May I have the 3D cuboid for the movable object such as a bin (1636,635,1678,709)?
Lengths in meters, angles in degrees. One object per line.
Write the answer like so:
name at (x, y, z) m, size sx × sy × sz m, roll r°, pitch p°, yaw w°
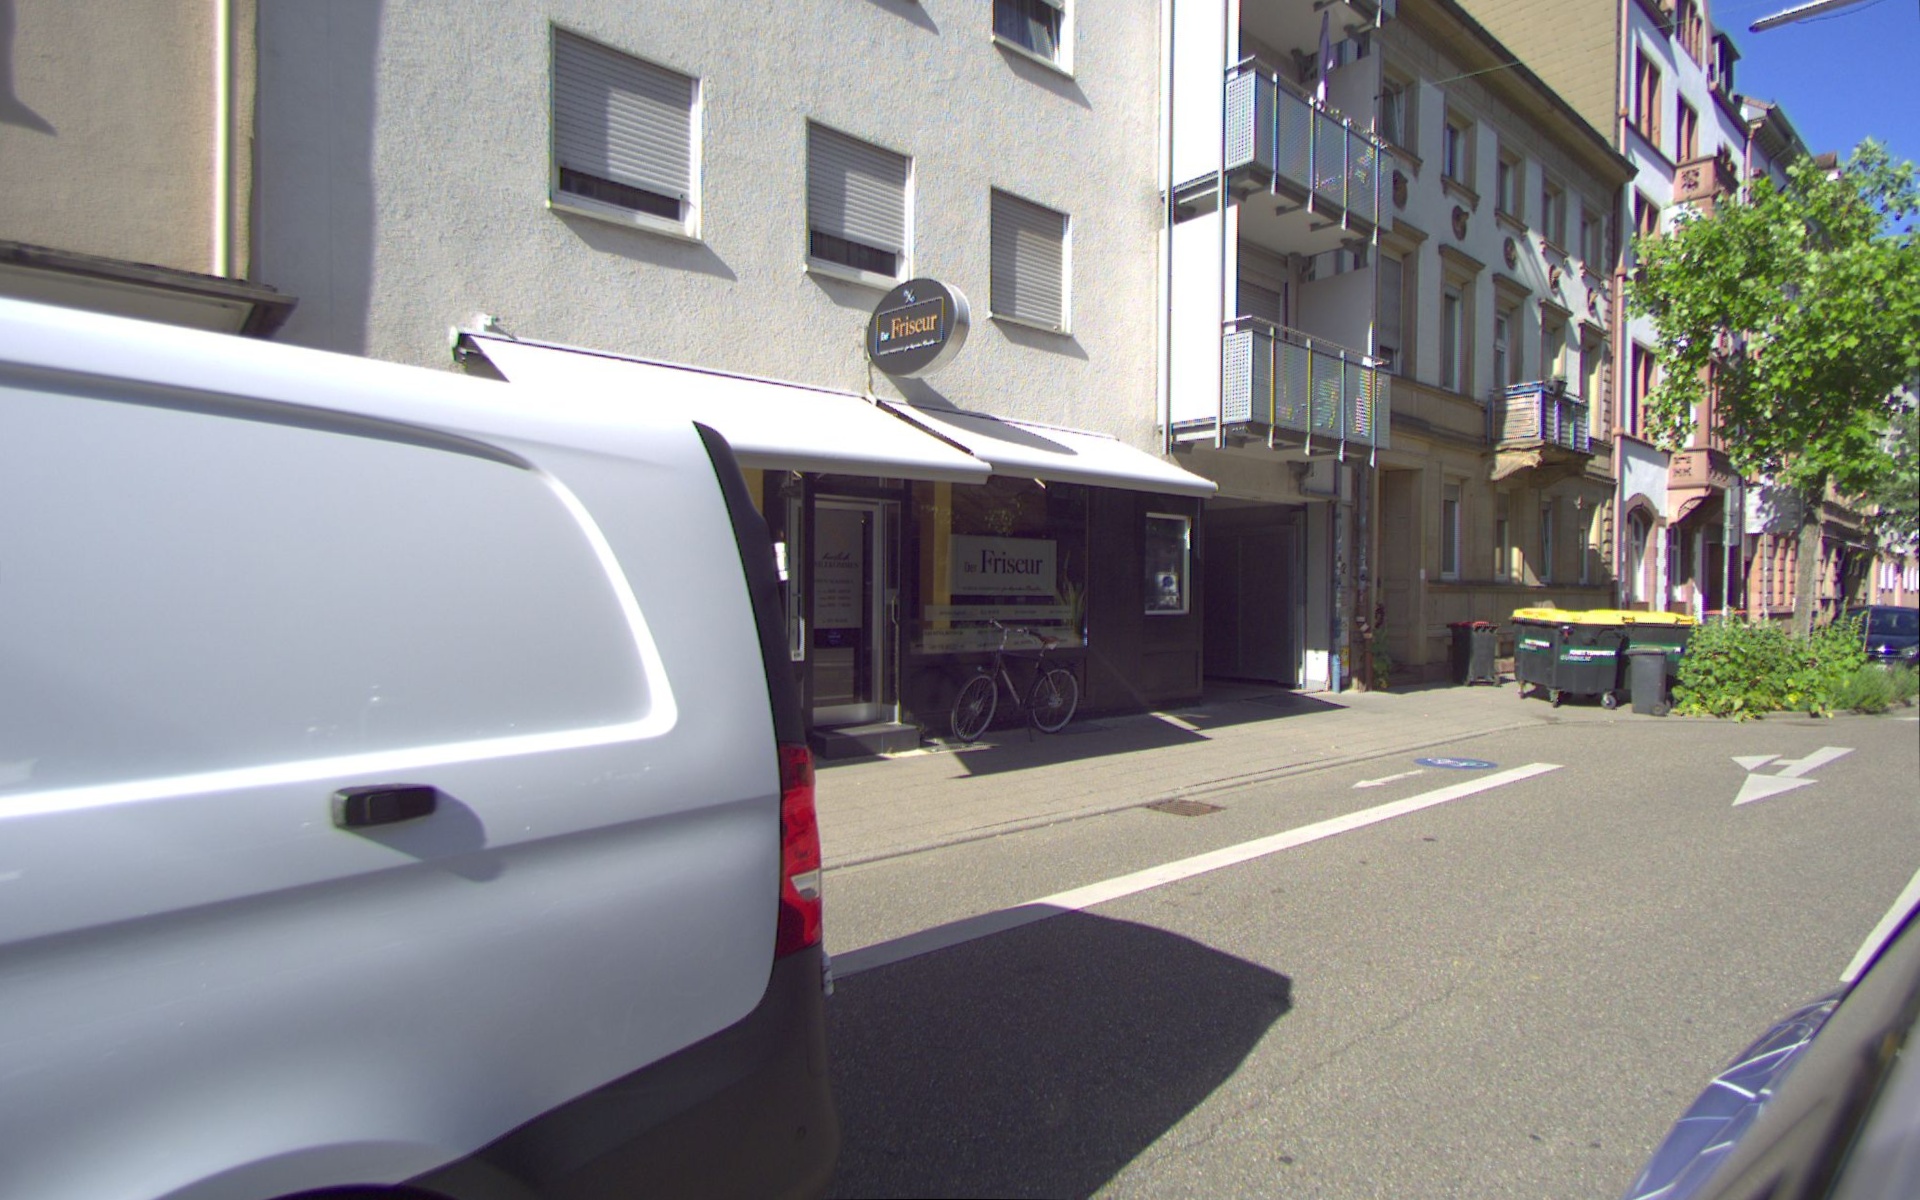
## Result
movable object such as a bin at (9.566, 0.977, 13.885) m, size 0.399 × 0.933 × 0.478 m, roll 3°, pitch 3°, yaw 41°

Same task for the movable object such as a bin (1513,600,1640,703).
movable object such as a bin at (8.836, 0.706, 14.576) m, size 1.030 × 1.341 × 1.216 m, roll 1°, pitch 3°, yaw 1°

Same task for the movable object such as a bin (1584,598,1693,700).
movable object such as a bin at (9.953, 0.691, 14.899) m, size 0.943 × 1.365 × 1.066 m, roll 1°, pitch 3°, yaw 11°

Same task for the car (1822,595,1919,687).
car at (16.831, 0.679, 18.213) m, size 3.293 × 1.510 × 1.550 m, roll 0°, pitch 1°, yaw -41°

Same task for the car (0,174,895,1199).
car at (-2.536, 0.495, 0.866) m, size 4.912 × 1.892 × 1.838 m, roll 0°, pitch 1°, yaw -43°

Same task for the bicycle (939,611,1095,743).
bicycle at (0.598, 0.724, 10.101) m, size 1.760 × 1.193 × 0.402 m, roll 0°, pitch 0°, yaw -41°

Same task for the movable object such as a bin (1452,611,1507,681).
movable object such as a bin at (8.527, 0.746, 16.622) m, size 0.557 × 1.094 × 0.617 m, roll 1°, pitch 3°, yaw 1°
